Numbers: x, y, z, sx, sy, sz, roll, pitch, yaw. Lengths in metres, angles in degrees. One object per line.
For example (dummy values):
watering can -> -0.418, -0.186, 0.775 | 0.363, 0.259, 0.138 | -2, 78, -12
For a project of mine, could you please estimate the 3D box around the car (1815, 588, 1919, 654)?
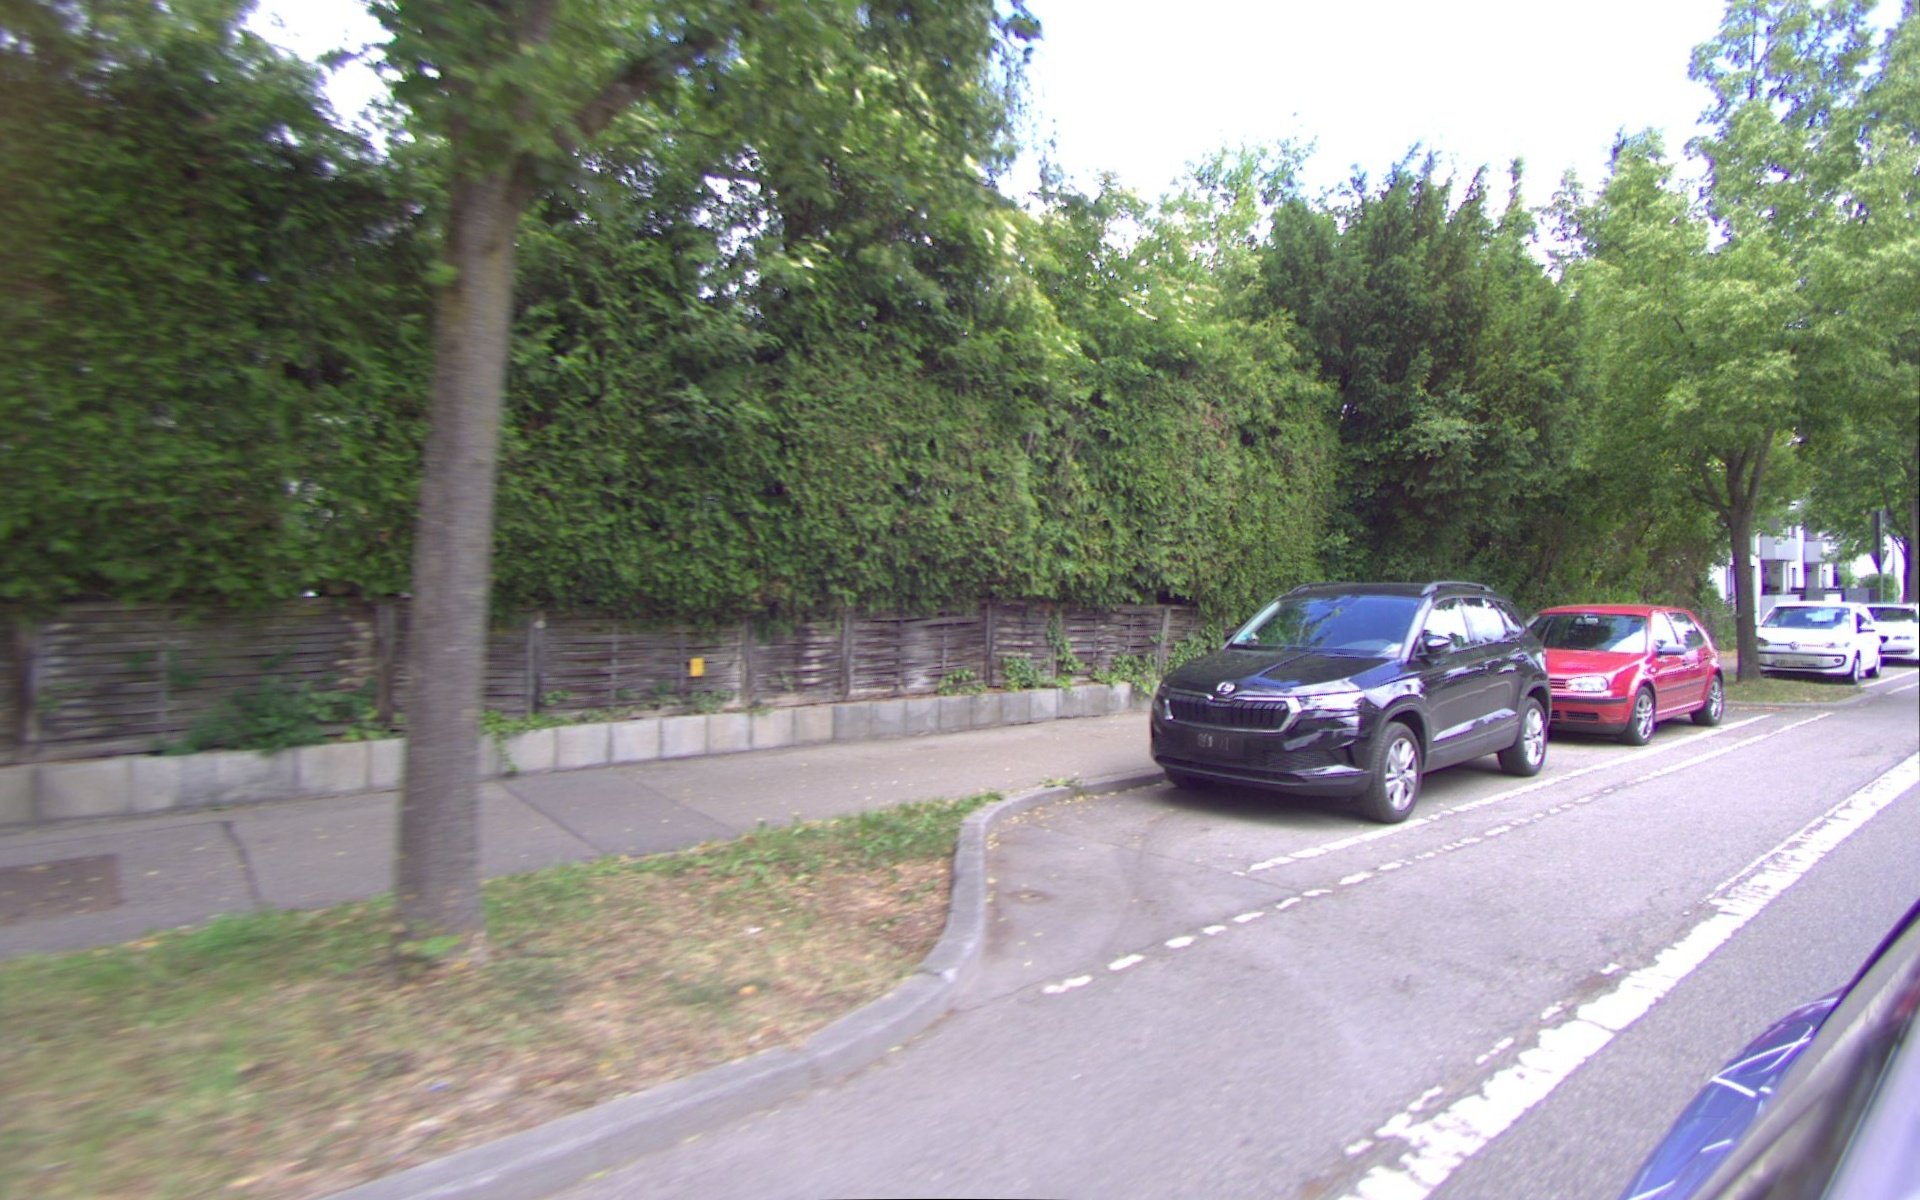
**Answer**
car -> 22.769, 0.464, 24.721 | 4.935, 1.462, 2.025 | 0, 0, -39

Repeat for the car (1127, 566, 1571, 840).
car -> 3.262, 0.602, 8.050 | 4.098, 1.636, 1.640 | 0, 0, -42

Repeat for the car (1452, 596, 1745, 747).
car -> 7.417, 0.680, 11.620 | 3.927, 1.438, 1.642 | 0, 1, -38

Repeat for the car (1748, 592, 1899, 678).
car -> 16.490, 0.594, 19.283 | 3.592, 1.478, 1.619 | 0, 1, -40
